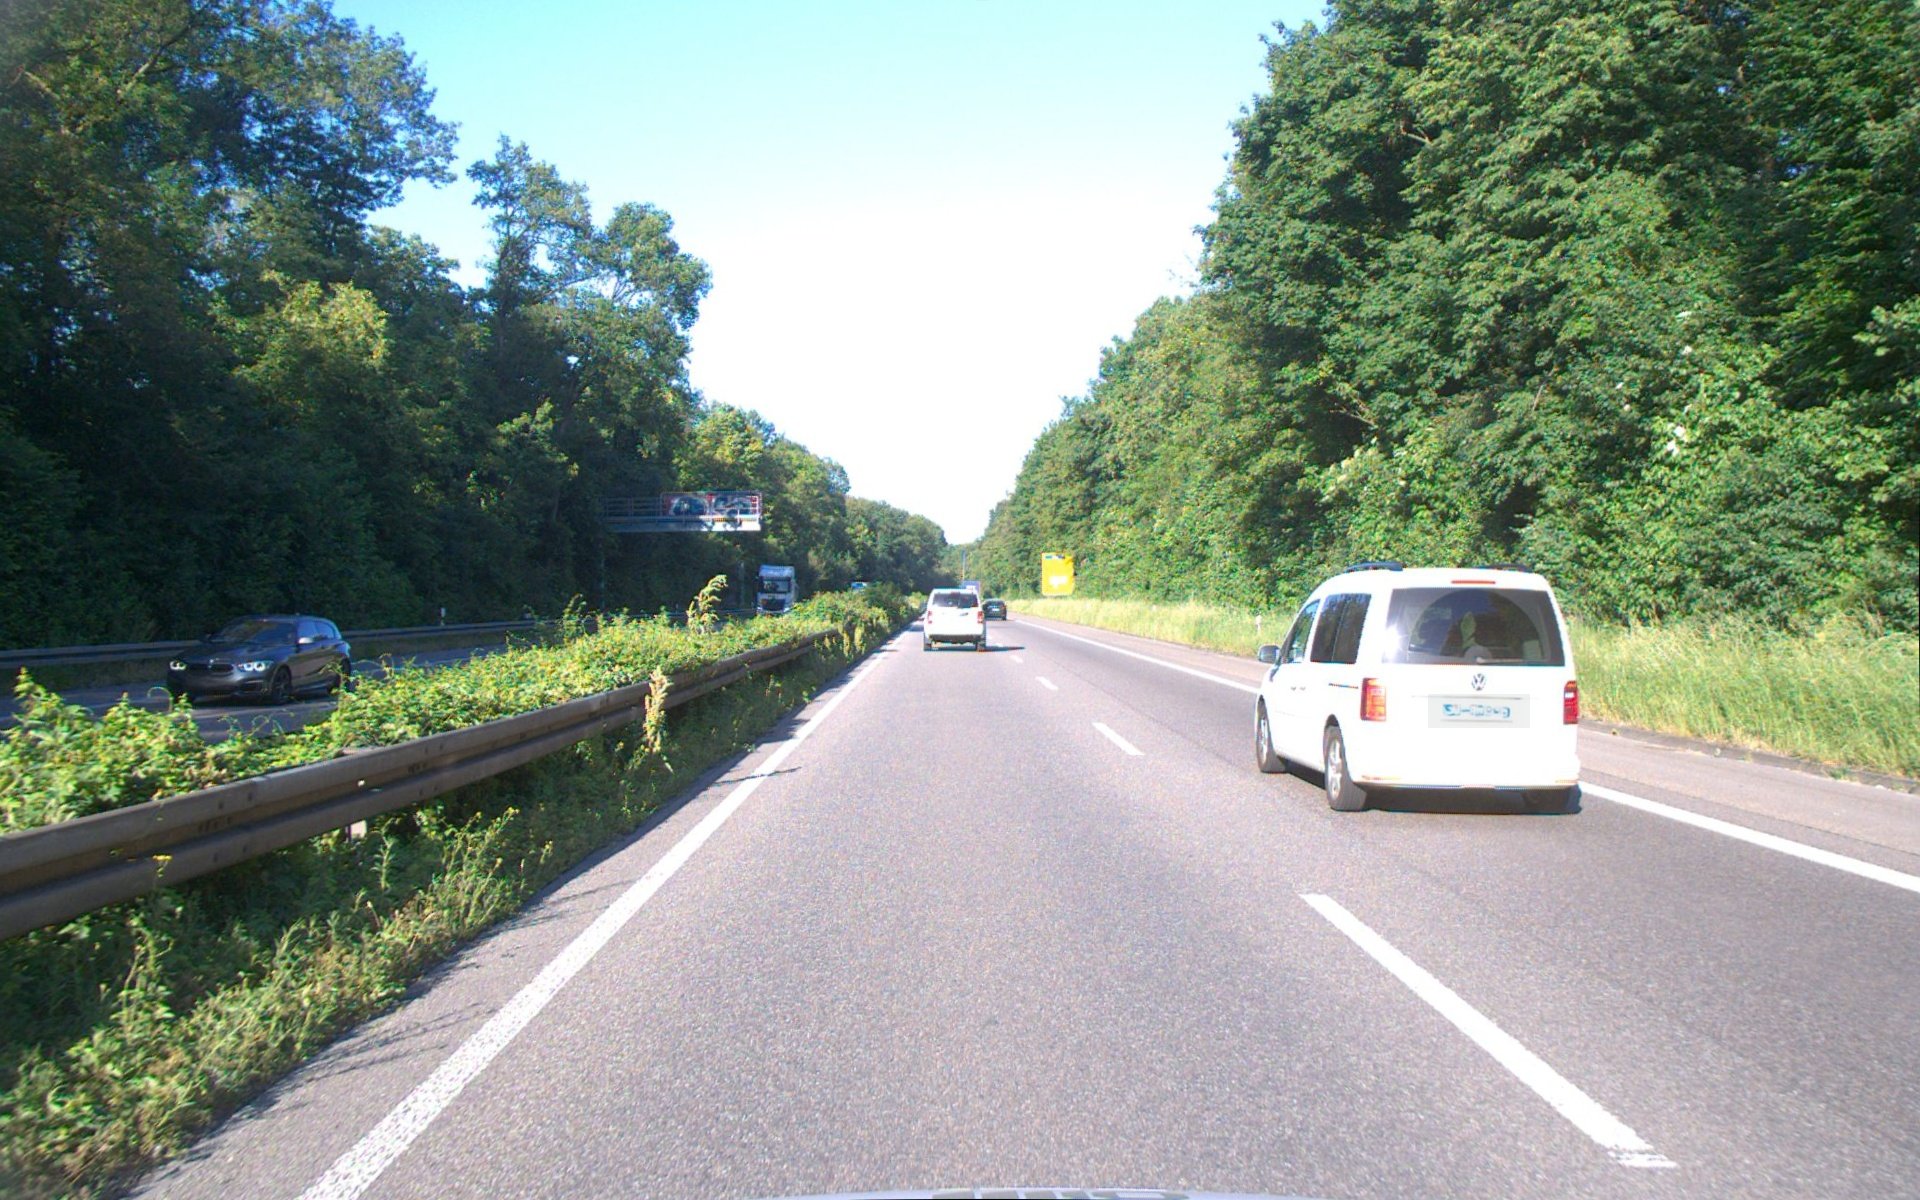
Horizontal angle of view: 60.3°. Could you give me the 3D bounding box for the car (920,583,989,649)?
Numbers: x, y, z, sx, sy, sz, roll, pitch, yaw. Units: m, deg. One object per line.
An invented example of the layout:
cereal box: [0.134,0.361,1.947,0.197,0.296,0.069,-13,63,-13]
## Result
car: [-0.202,0.476,49.087,1.912,1.813,4.586,1,-1,-1]

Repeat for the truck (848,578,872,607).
truck: [-14.357,-1.021,237.830,3.163,4.083,5.675,1,0,-1]

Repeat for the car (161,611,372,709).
car: [-11.672,0.956,28.199,1.698,1.433,4.555,1,1,-1]

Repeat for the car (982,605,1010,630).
car: [2.665,1.300,122.739,1.912,1.813,4.586,1,-1,-1]

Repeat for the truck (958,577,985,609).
truck: [1.585,-0.946,234.480,3.658,4.419,9.303,1,-1,0]

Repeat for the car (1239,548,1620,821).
car: [3.630,0.602,13.704,1.762,1.844,4.586,1,-1,-1]

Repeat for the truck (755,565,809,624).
truck: [-12.968,-0.341,121.447,2.713,4.024,11.465,1,-1,0]
